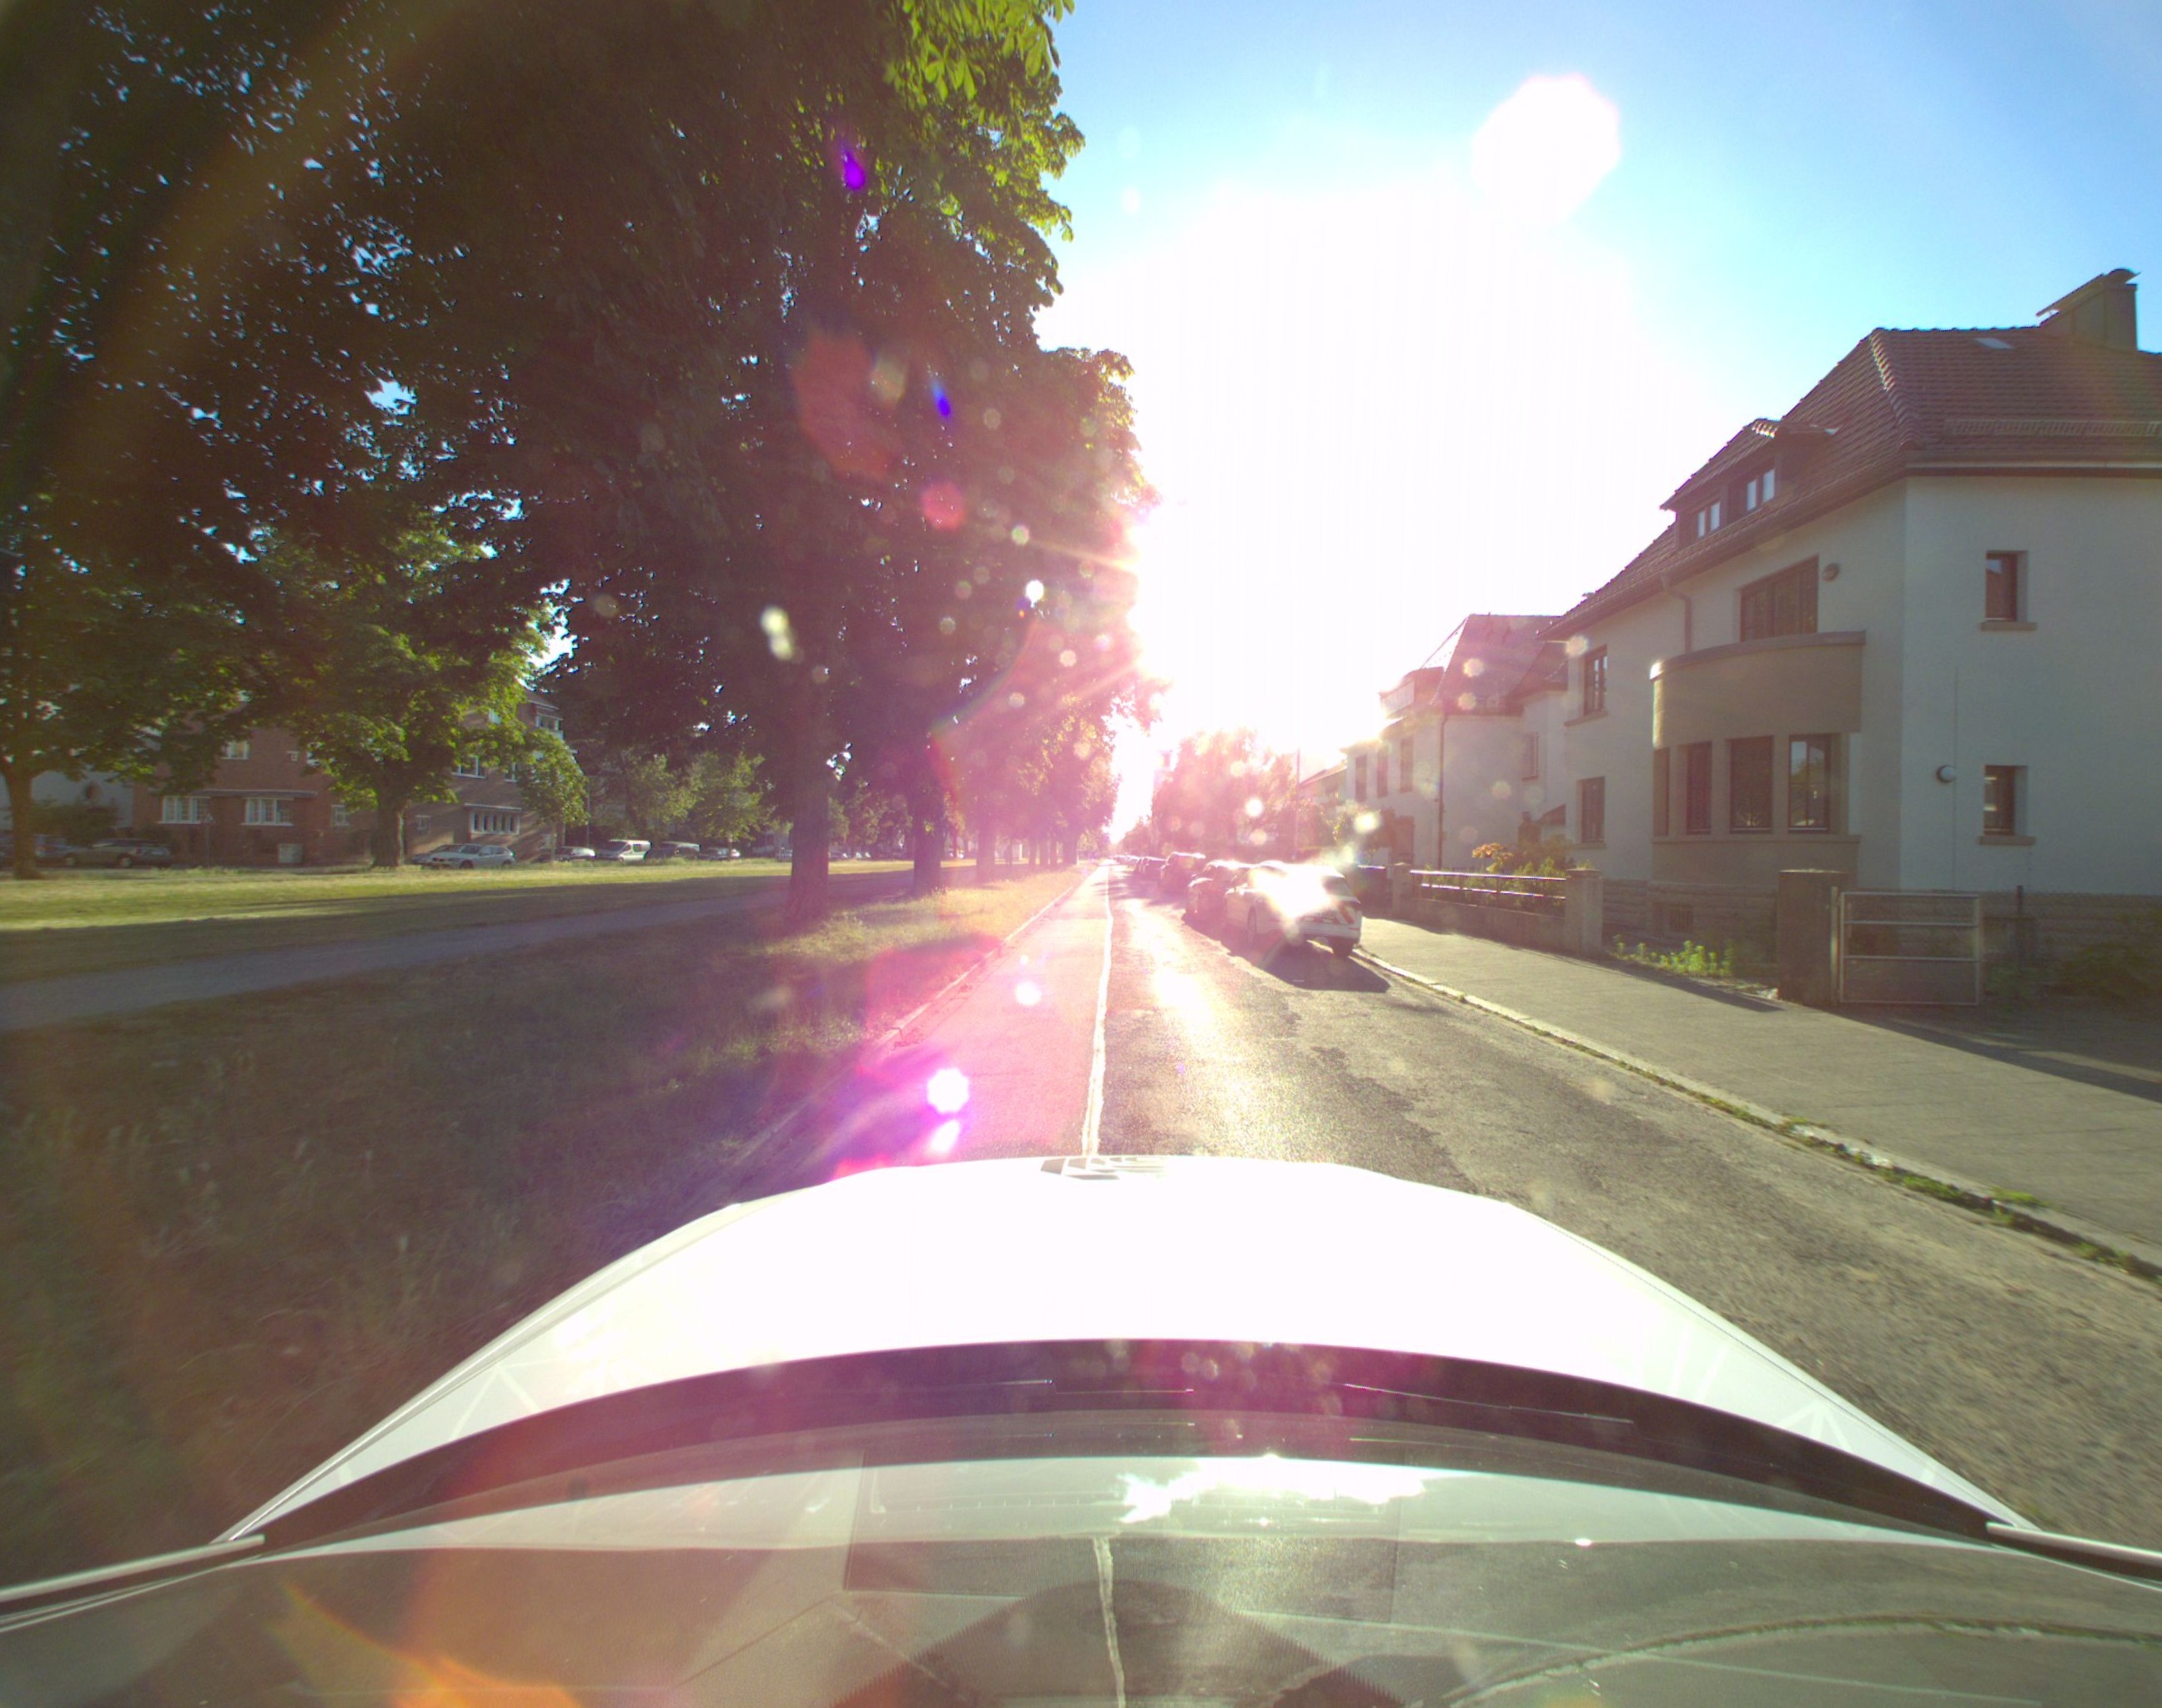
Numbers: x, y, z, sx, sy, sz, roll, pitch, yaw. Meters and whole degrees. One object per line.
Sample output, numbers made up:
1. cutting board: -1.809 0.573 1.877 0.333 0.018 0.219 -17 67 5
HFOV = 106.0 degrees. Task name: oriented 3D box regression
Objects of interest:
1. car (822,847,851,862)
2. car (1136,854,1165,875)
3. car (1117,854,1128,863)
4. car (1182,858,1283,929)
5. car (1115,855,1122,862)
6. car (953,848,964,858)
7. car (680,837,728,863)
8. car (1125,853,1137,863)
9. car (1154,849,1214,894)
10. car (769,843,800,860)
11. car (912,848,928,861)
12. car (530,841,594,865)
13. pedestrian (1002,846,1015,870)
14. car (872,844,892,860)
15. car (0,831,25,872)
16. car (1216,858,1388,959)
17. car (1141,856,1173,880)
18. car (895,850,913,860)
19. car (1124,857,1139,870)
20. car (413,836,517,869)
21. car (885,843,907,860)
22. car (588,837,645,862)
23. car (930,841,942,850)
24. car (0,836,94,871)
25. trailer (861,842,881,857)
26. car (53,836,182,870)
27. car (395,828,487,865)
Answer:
1. car: -30.158 0.085 100.649 1.985 1.721 4.259 2 0 3
2. car: 5.526 0.777 65.113 1.687 1.483 3.926 5 0 -2
3. car: 7.671 0.767 151.278 1.752 1.605 4.359 1 0 1
4. car: 3.734 0.915 20.850 1.773 1.463 4.595 4 0 2
5. car: 10.802 1.287 232.521 1.972 1.683 4.003 1 0 3
6. car: -32.096 -0.230 213.245 1.986 2.409 4.365 -1 -1 2
7. car: -31.782 -0.333 68.783 1.986 2.013 4.002 2 0 2
8. car: 7.974 0.623 130.642 1.752 1.605 4.359 1 0 1
9. car: 4.311 0.699 34.881 1.987 1.737 4.864 1 0 1
10. car: -35.856 -0.251 98.602 2.023 2.014 4.003 -1 -1 3
11. car: -28.694 0.031 145.396 1.678 2.175 4.318 1 0 3
12. car: -37.756 -0.050 59.351 1.750 1.623 4.308 1 0 2
13. pedestrian: -5.368 0.271 60.669 0.720 1.758 0.995 1 0 8
14. car: -34.507 -0.380 141.157 1.985 2.673 5.190 1 0 2
15. car: -46.582 -0.264 32.964 4.835 1.609 1.999 1 -9 2
16. car: 3.887 0.882 15.212 1.986 1.464 4.551 4 0 1
17. car: 5.037 0.891 54.559 1.786 1.492 4.675 2 0 1
18. car: -29.306 0.137 134.980 1.678 1.559 4.317 1 0 3
19. car: 6.631 1.207 107.314 1.750 1.420 4.074 7 0 2
20. car: -32.281 -0.077 42.882 1.812 1.639 4.652 1 0 2
21. car: -34.324 -0.434 151.304 2.428 2.922 5.820 -1 -1 2
22. car: -37.044 -0.359 65.024 1.809 1.838 4.411 1 0 2
23. car: -33.635 -1.989 189.133 1.986 2.014 4.485 -1 -2 1
24. car: -50.254 -0.024 38.932 3.883 1.574 1.836 1 0 1
25. trailer: -34.724 -0.707 134.806 1.985 2.428 4.727 1 0 2
26. car: -45.957 -0.038 38.907 3.971 1.486 1.866 1 0 2
27. car: -37.424 -0.425 47.757 1.750 2.013 4.371 1 0 2
